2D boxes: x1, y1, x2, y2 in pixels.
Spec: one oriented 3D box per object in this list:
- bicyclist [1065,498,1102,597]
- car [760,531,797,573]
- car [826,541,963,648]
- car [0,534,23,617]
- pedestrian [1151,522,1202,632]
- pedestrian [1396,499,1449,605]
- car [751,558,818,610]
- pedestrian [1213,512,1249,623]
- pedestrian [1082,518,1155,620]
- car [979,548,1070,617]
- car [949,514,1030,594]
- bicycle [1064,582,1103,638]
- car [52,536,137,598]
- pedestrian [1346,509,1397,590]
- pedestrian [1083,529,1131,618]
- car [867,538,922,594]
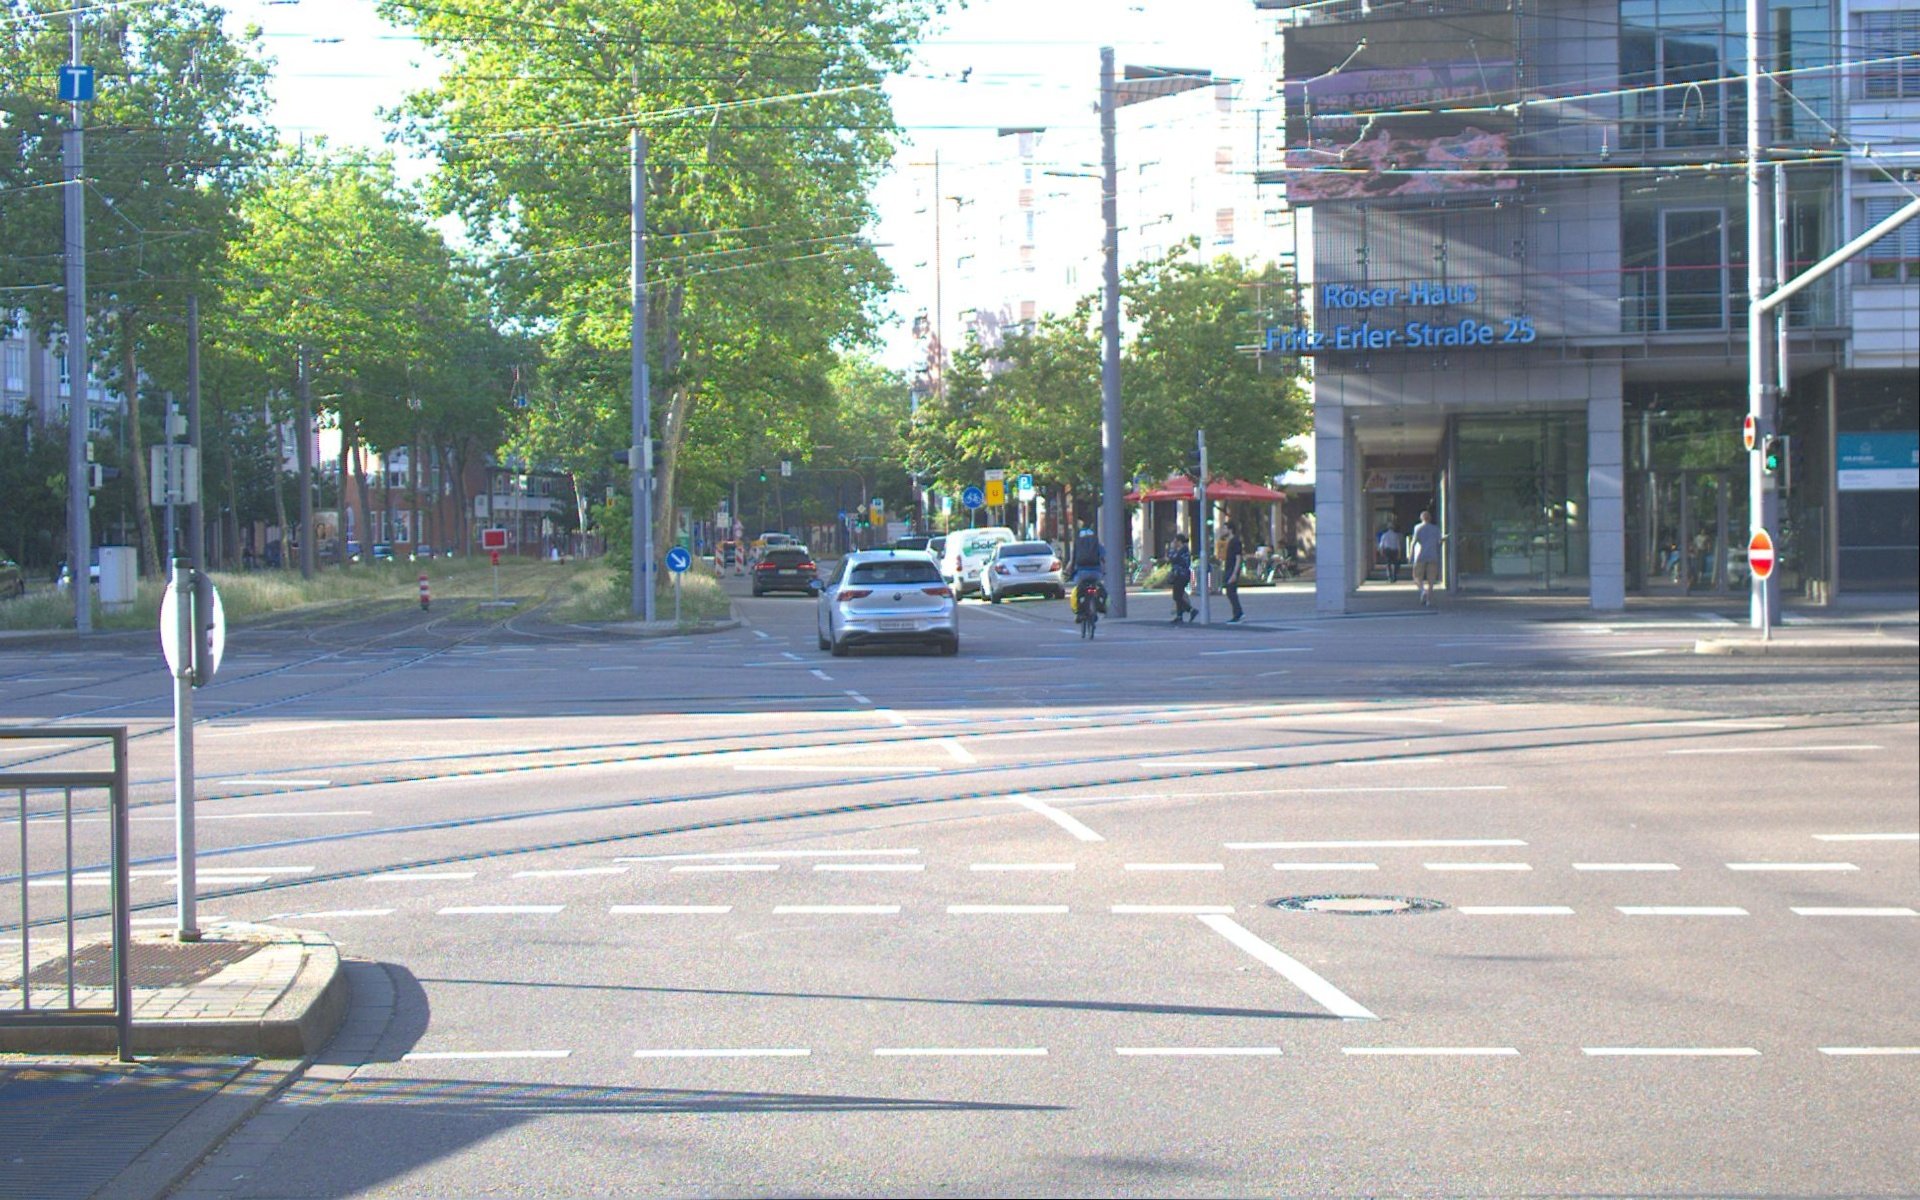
[{"bbox_3d":[1.807,-0.770,50.502,0.486,1.434,0.615,1,1,-1],"label":"bicyclist"},{"bbox_3d":[-11.042,-2.896,209.622,1.993,2.008,3.998,1,-7,1],"label":"car"},{"bbox_3d":[-0.878,-0.112,48.165,1.748,1.413,4.000,0,1,1],"label":"car"},{"bbox_3d":[-21.666,-0.537,74.838,1.822,1.784,4.001,-1,1,-7],"label":"car"},{"bbox_3d":[4.009,-0.426,63.750,0.849,2.007,0.708,1,0,-1],"label":"pedestrian"},{"bbox_3d":[8.892,-0.911,66.128,0.869,2.007,0.794,1,-1,-1],"label":"pedestrian"},{"bbox_3d":[-4.918,-0.466,96.060,1.763,1.399,4.297,0,1,-4],"label":"car"},{"bbox_3d":[4.955,-0.589,62.827,0.586,2.007,0.620,1,0,0],"label":"pedestrian"},{"bbox_3d":[3.046,-0.602,66.134,1.342,1.944,1.011,-1,0,-1],"label":"pedestrian"},{"bbox_3d":[1.528,-0.440,82.767,2.029,1.590,4.000,1,1,-1],"label":"car"},{"bbox_3d":[0.753,-1.199,89.572,1.993,2.007,4.000,1,1,-1],"label":"car"},{"bbox_3d":[1.814,0.139,50.671,0.490,0.785,1.862,0,1,-1],"label":"bicycle"},{"bbox_3d":[-23.048,-0.890,91.659,1.676,1.601,4.001,1,1,-6],"label":"car"},{"bbox_3d":[11.174,-1.375,93.394,1.313,2.182,1.170,1,0,6],"label":"pedestrian"},{"bbox_3d":[2.863,-0.515,66.883,0.869,1.702,0.794,1,0,-1],"label":"pedestrian"},{"bbox_3d":[-2.404,-1.246,126.797,1.993,2.007,4.000,1,1,-1],"label":"car"}]
